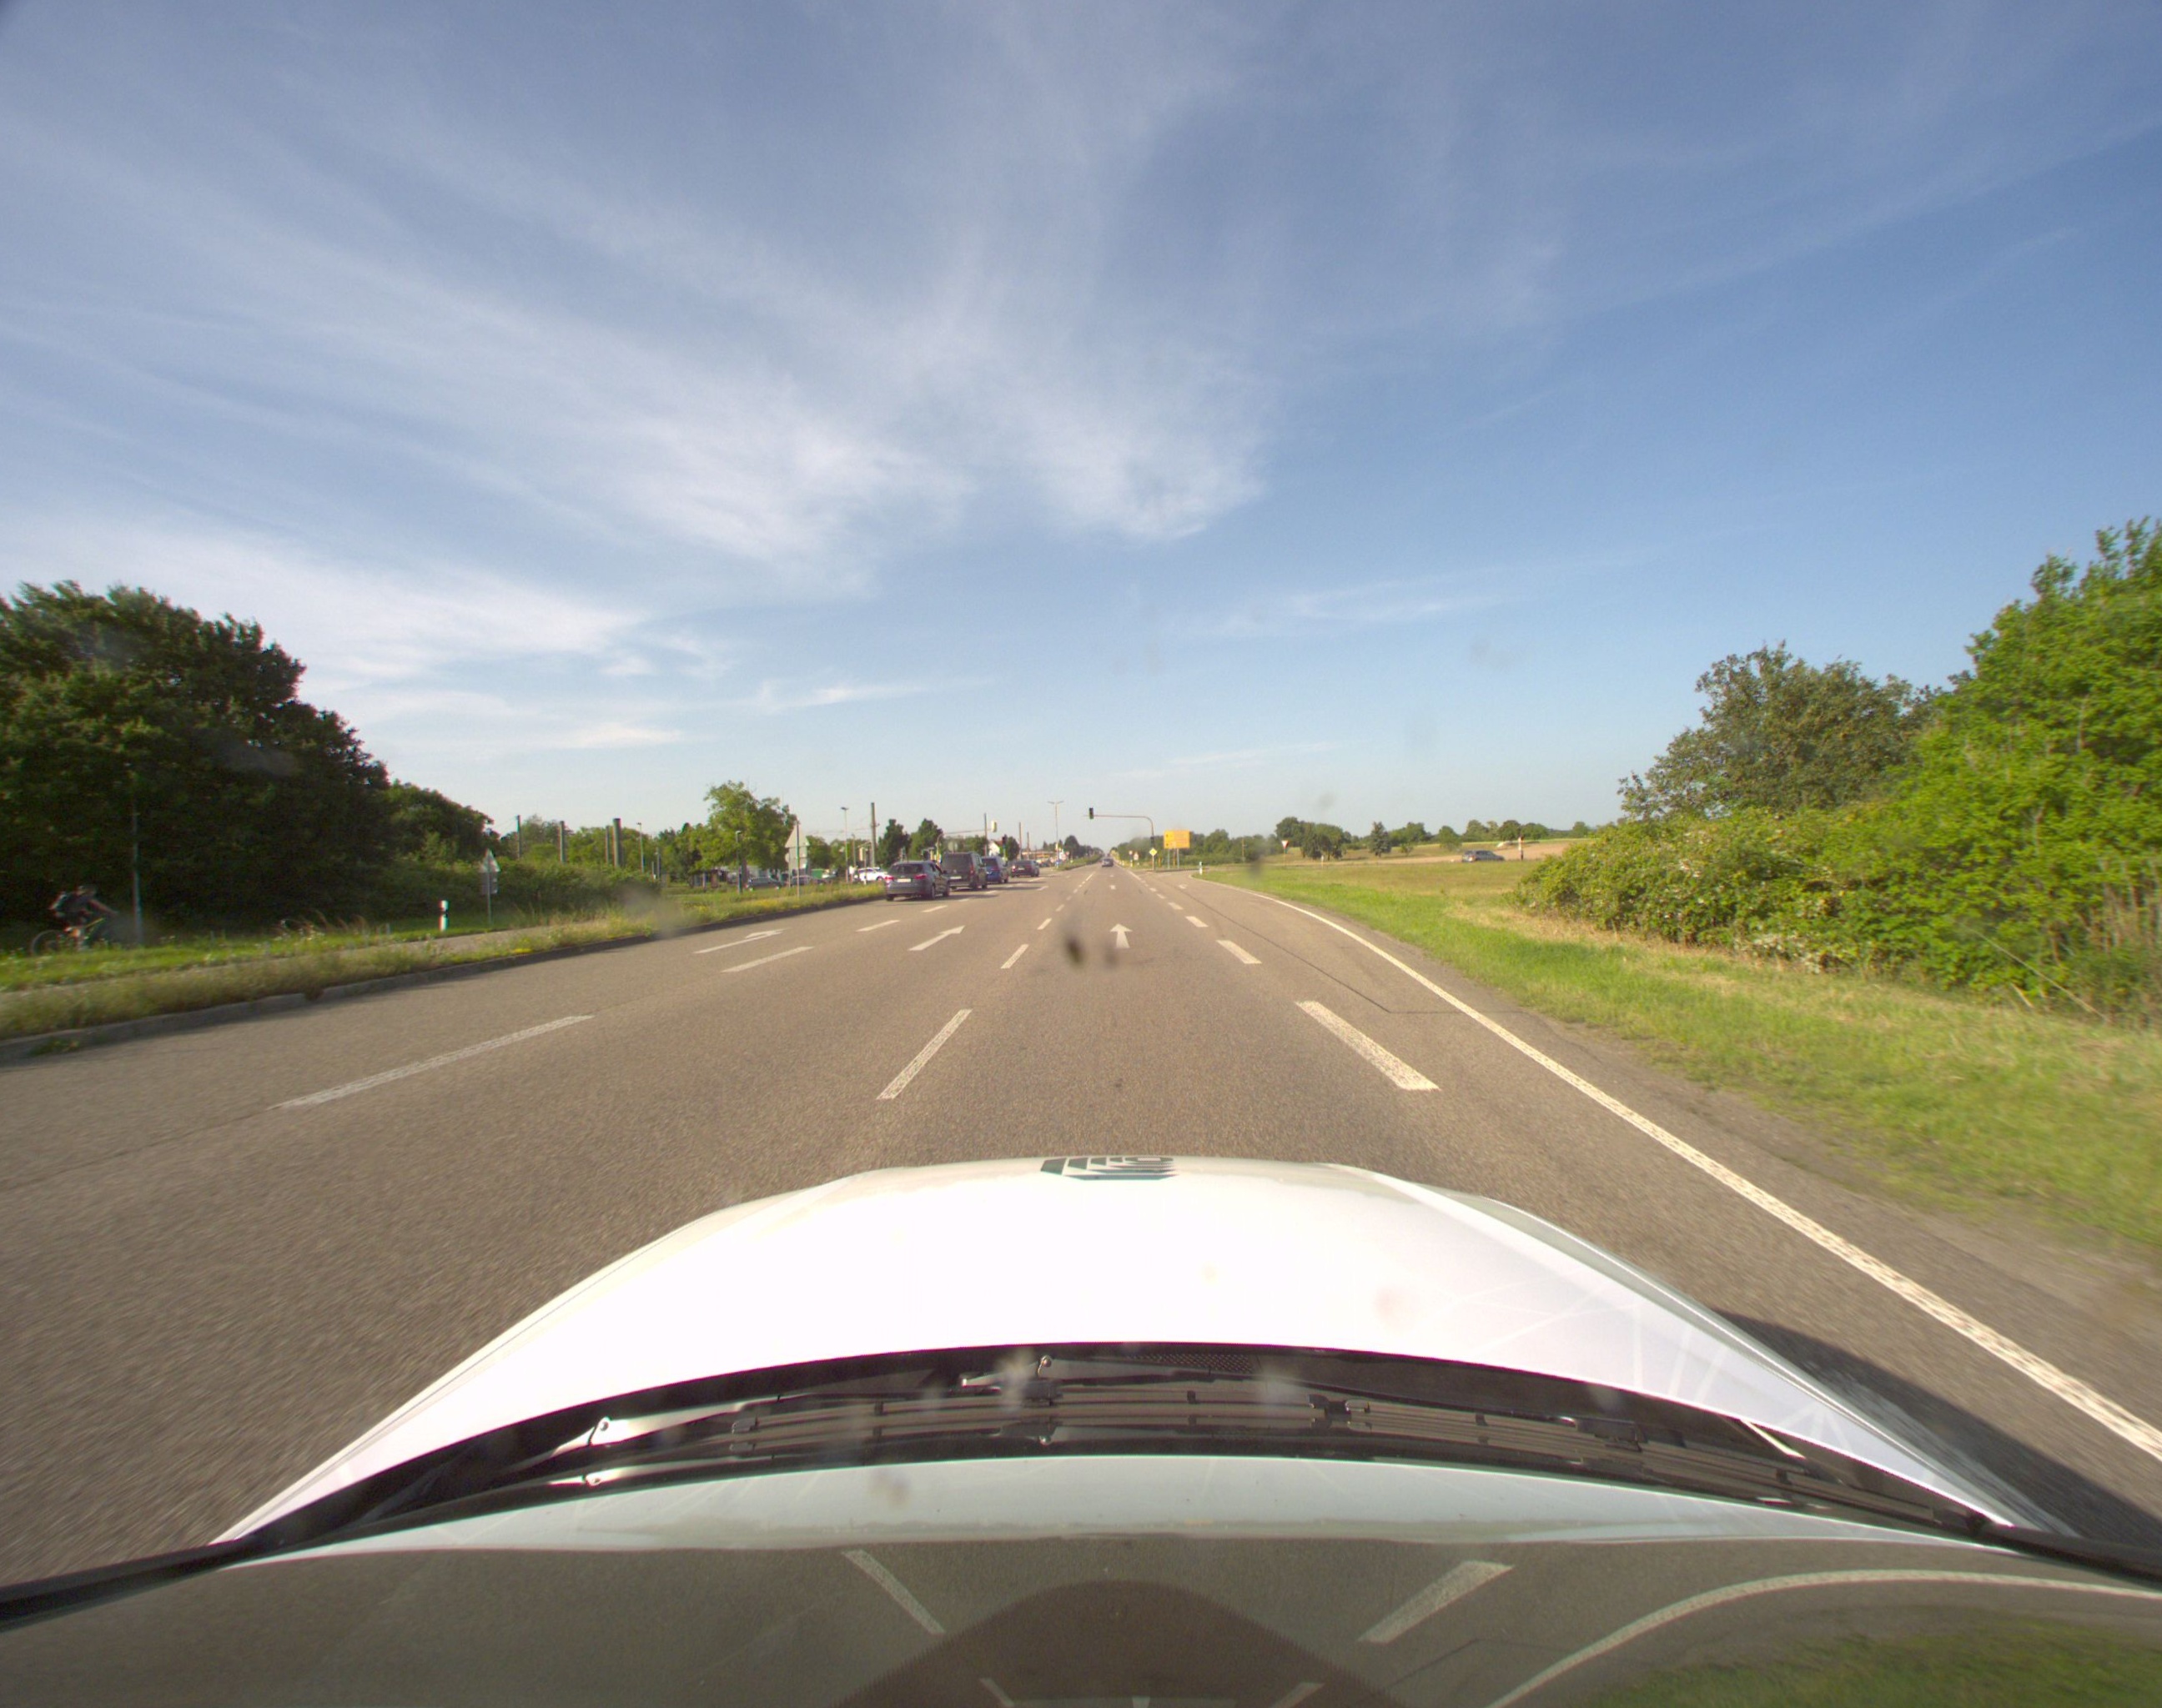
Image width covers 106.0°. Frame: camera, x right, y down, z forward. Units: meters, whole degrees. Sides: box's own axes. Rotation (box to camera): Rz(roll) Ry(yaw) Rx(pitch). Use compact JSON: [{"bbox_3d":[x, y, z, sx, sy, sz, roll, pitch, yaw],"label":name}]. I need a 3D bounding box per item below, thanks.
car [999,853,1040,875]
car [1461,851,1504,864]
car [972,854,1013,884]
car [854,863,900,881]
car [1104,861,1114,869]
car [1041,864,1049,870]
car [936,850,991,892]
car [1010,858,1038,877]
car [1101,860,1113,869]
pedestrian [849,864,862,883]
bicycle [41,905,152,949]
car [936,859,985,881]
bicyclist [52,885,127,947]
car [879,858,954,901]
[{"bbox_3d":[-5.935,0.991,78.321,1.844,2.013,3.952,-1,0,-41],"label":"car"},{"bbox_3d":[41.390,0.360,83.976,3.624,1.219,1.560,-2,0,-7],"label":"car"},{"bbox_3d":[-5.281,0.872,49.248,1.763,1.679,4.523,-2,0,2],"label":"car"},{"bbox_3d":[-19.714,1.727,78.569,3.951,1.662,1.898,-1,-2,24],"label":"car"},{"bbox_3d":[5.939,2.352,173.984,1.985,1.552,4.003,-2,0,2],"label":"car"},{"bbox_3d":[-9.433,3.346,211.363,1.681,1.662,3.760,-2,0,2],"label":"car"},{"bbox_3d":[-5.531,0.768,38.963,1.725,1.855,4.523,-2,0,3],"label":"car"},{"bbox_3d":[-4.573,1.051,65.588,1.763,1.471,4.017,-2,0,2],"label":"car"},{"bbox_3d":[4.657,1.798,143.341,1.985,1.552,4.003,-2,0,2],"label":"car"},{"bbox_3d":[-20.657,1.788,74.589,0.913,1.706,1.066,0,-2,-4],"label":"pedestrian"},{"bbox_3d":[-23.528,1.731,19.509,0.528,0.878,1.705,-2,0,2],"label":"bicycle"},{"bbox_3d":[-12.179,1.660,82.556,4.812,2.014,1.996,-2,-2,-5],"label":"car"},{"bbox_3d":[-23.563,1.453,19.368,0.465,1.389,1.048,-2,0,2],"label":"bicyclist"},{"bbox_3d":[-6.198,0.932,31.185,1.725,1.456,4.523,-2,0,3],"label":"car"}]
